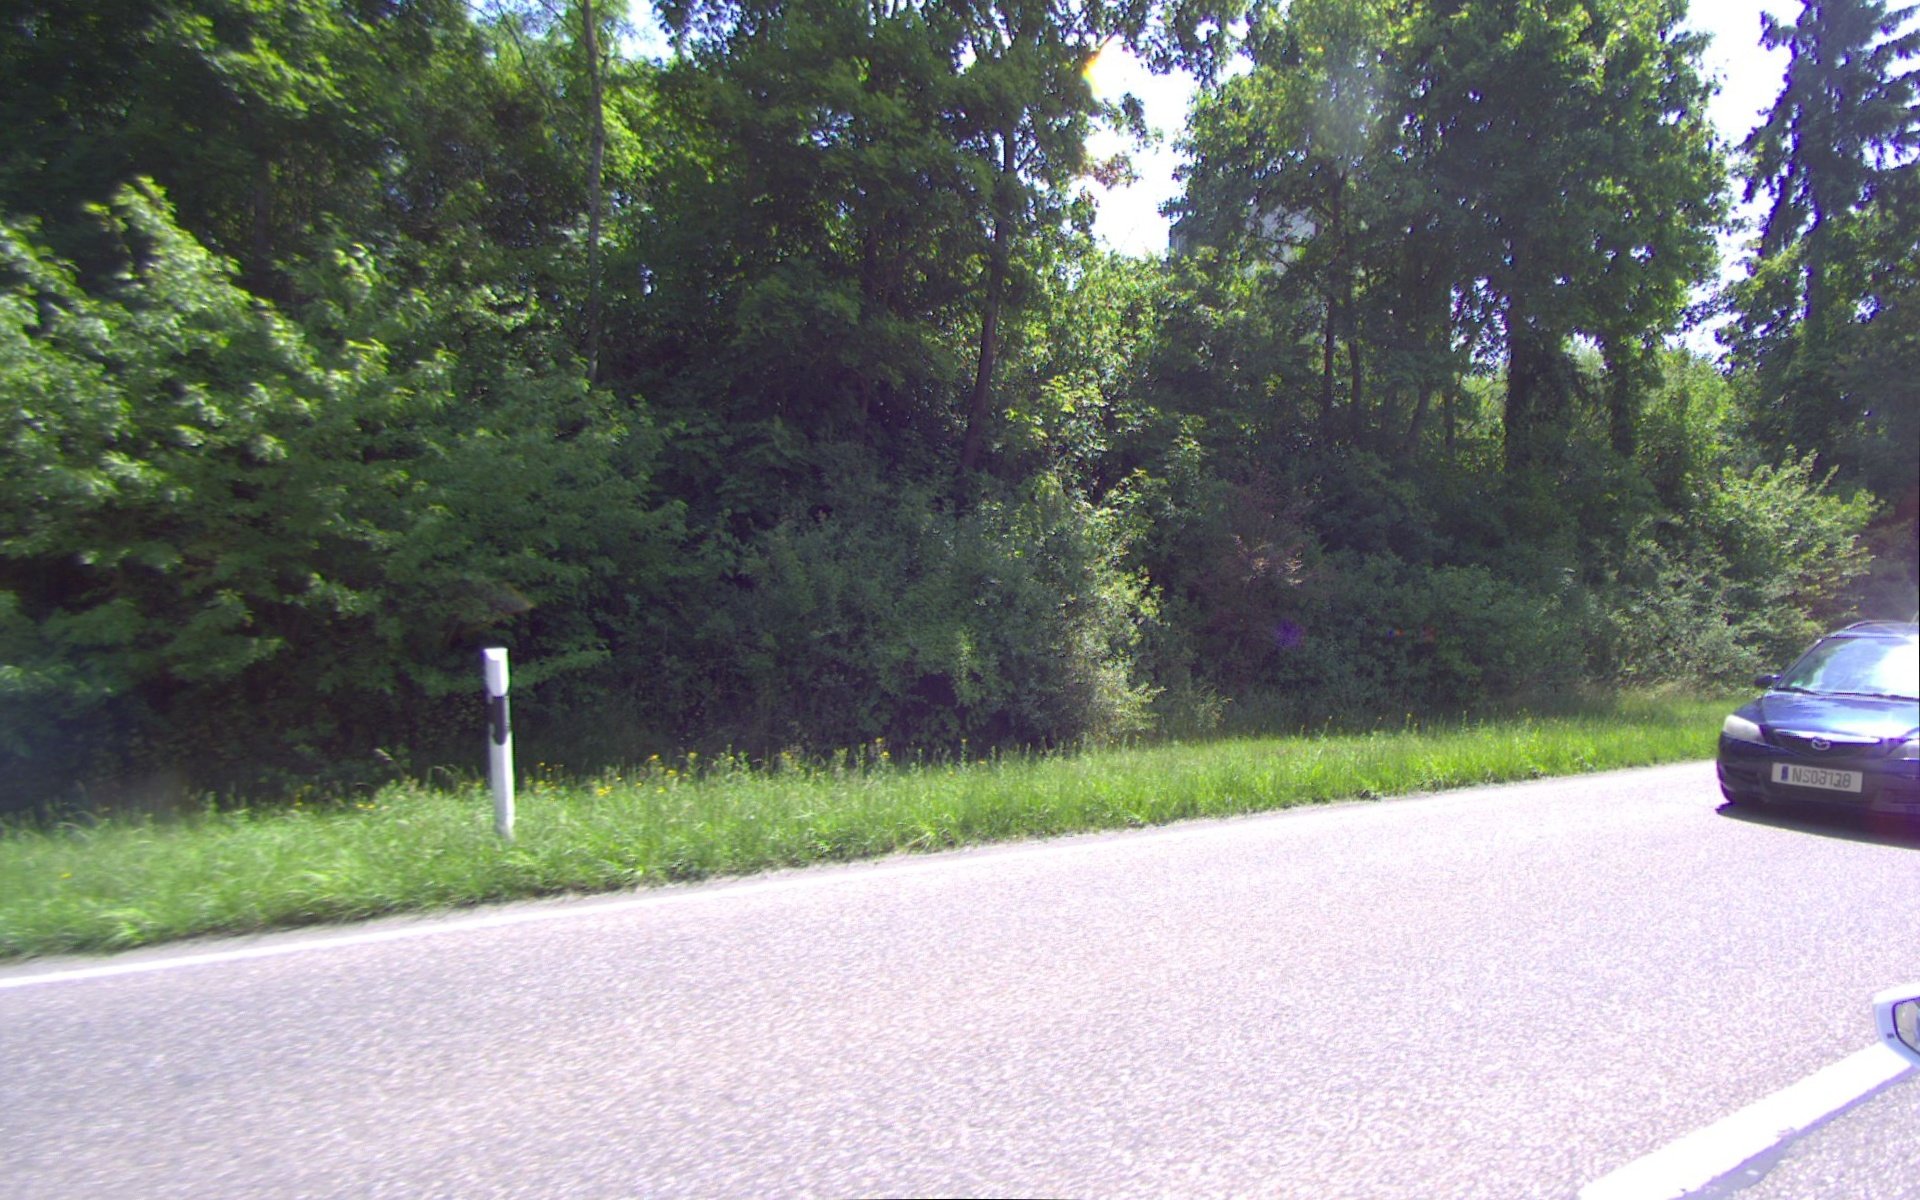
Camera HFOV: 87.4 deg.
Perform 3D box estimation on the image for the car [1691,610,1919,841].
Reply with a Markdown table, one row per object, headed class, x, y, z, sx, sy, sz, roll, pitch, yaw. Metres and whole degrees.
| class | x | y | z | sx | sy | sz | roll | pitch | yaw |
| --- | --- | --- | --- | --- | --- | --- | --- | --- | --- |
| car | 7.887 | 0.901 | 8.230 | 3.954 | 1.539 | 1.664 | 2 | -1 | -31 |
